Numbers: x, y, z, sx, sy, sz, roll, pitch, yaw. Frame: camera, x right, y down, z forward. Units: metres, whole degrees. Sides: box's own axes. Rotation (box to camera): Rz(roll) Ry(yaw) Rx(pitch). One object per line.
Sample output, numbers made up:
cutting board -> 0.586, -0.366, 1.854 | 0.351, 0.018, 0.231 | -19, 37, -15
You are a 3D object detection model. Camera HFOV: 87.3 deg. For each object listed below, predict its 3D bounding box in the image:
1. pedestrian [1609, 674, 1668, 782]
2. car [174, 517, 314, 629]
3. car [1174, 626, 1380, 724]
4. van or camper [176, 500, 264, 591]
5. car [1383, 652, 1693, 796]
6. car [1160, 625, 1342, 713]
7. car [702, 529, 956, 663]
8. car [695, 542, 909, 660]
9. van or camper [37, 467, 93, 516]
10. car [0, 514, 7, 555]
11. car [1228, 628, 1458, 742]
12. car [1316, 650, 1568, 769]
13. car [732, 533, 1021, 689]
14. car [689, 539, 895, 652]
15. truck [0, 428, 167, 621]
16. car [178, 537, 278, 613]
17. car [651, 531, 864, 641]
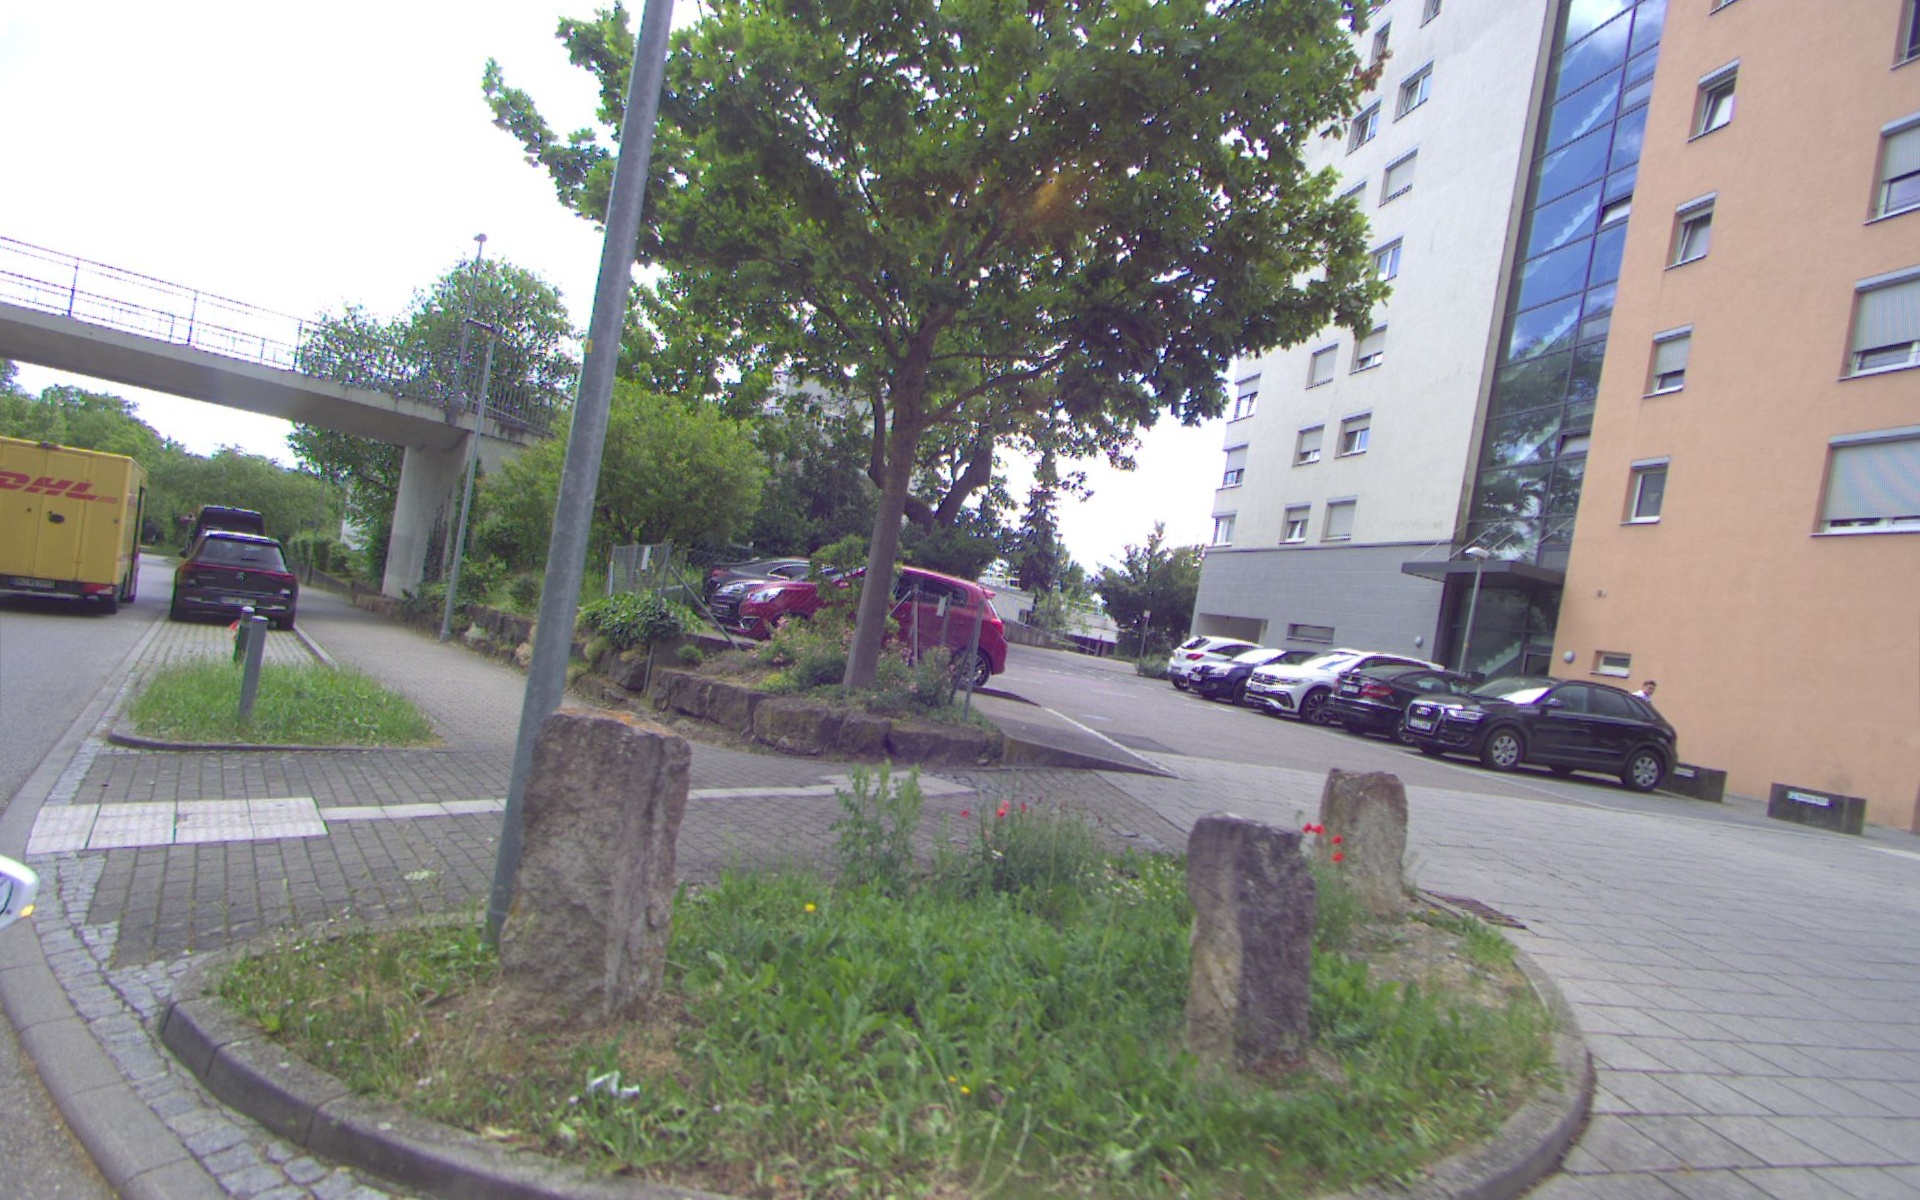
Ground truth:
pedestrian -> 12.428, 2.335, 18.435 | 0.474, 1.874, 0.504 | 9, -1, -22
car -> -13.680, -0.484, 19.129 | 1.805, 1.697, 4.327 | 8, -4, -38
car -> 7.217, 1.694, 23.078 | 3.989, 1.534, 1.753 | 10, -1, -10
van or camper -> -24.435, -1.767, 33.249 | 1.983, 2.553, 5.418 | 6, -1, -36
car -> 9.216, 1.955, 16.170 | 3.989, 1.534, 1.753 | 10, -1, -10
car -> 7.358, 1.740, 25.648 | 3.928, 1.534, 1.755 | 10, -1, -8
car -> -2.158, -0.034, 16.293 | 3.743, 1.438, 1.680 | 10, -1, -15
car -> -2.964, 0.038, 18.708 | 3.607, 1.515, 1.680 | 10, -1, -15
van or camper -> -74.719, -9.069, 83.986 | 5.181, 2.902, 2.327 | 15, 0, 39
car -> -33.827, -2.366, 34.006 | 1.667, 1.452, 3.931 | 10, -3, -36
car -> 7.855, 1.731, 20.694 | 4.074, 1.612, 1.687 | 10, -1, -17
car -> 8.824, 1.988, 18.566 | 3.777, 1.475, 1.690 | 10, -1, -10
car -> -1.207, 0.173, 13.963 | 3.607, 1.455, 1.680 | 10, -1, -15
car -> -3.618, -0.075, 21.421 | 3.943, 1.632, 1.938 | 10, -1, -17
truck -> -16.427, -1.368, 18.449 | 2.456, 2.732, 6.756 | 10, -3, -37
car -> -17.919, -0.649, 24.641 | 1.691, 1.514, 4.078 | 9, -2, -37
car -> -4.713, -0.291, 23.368 | 4.494, 1.687, 1.938 | 10, -1, -17
